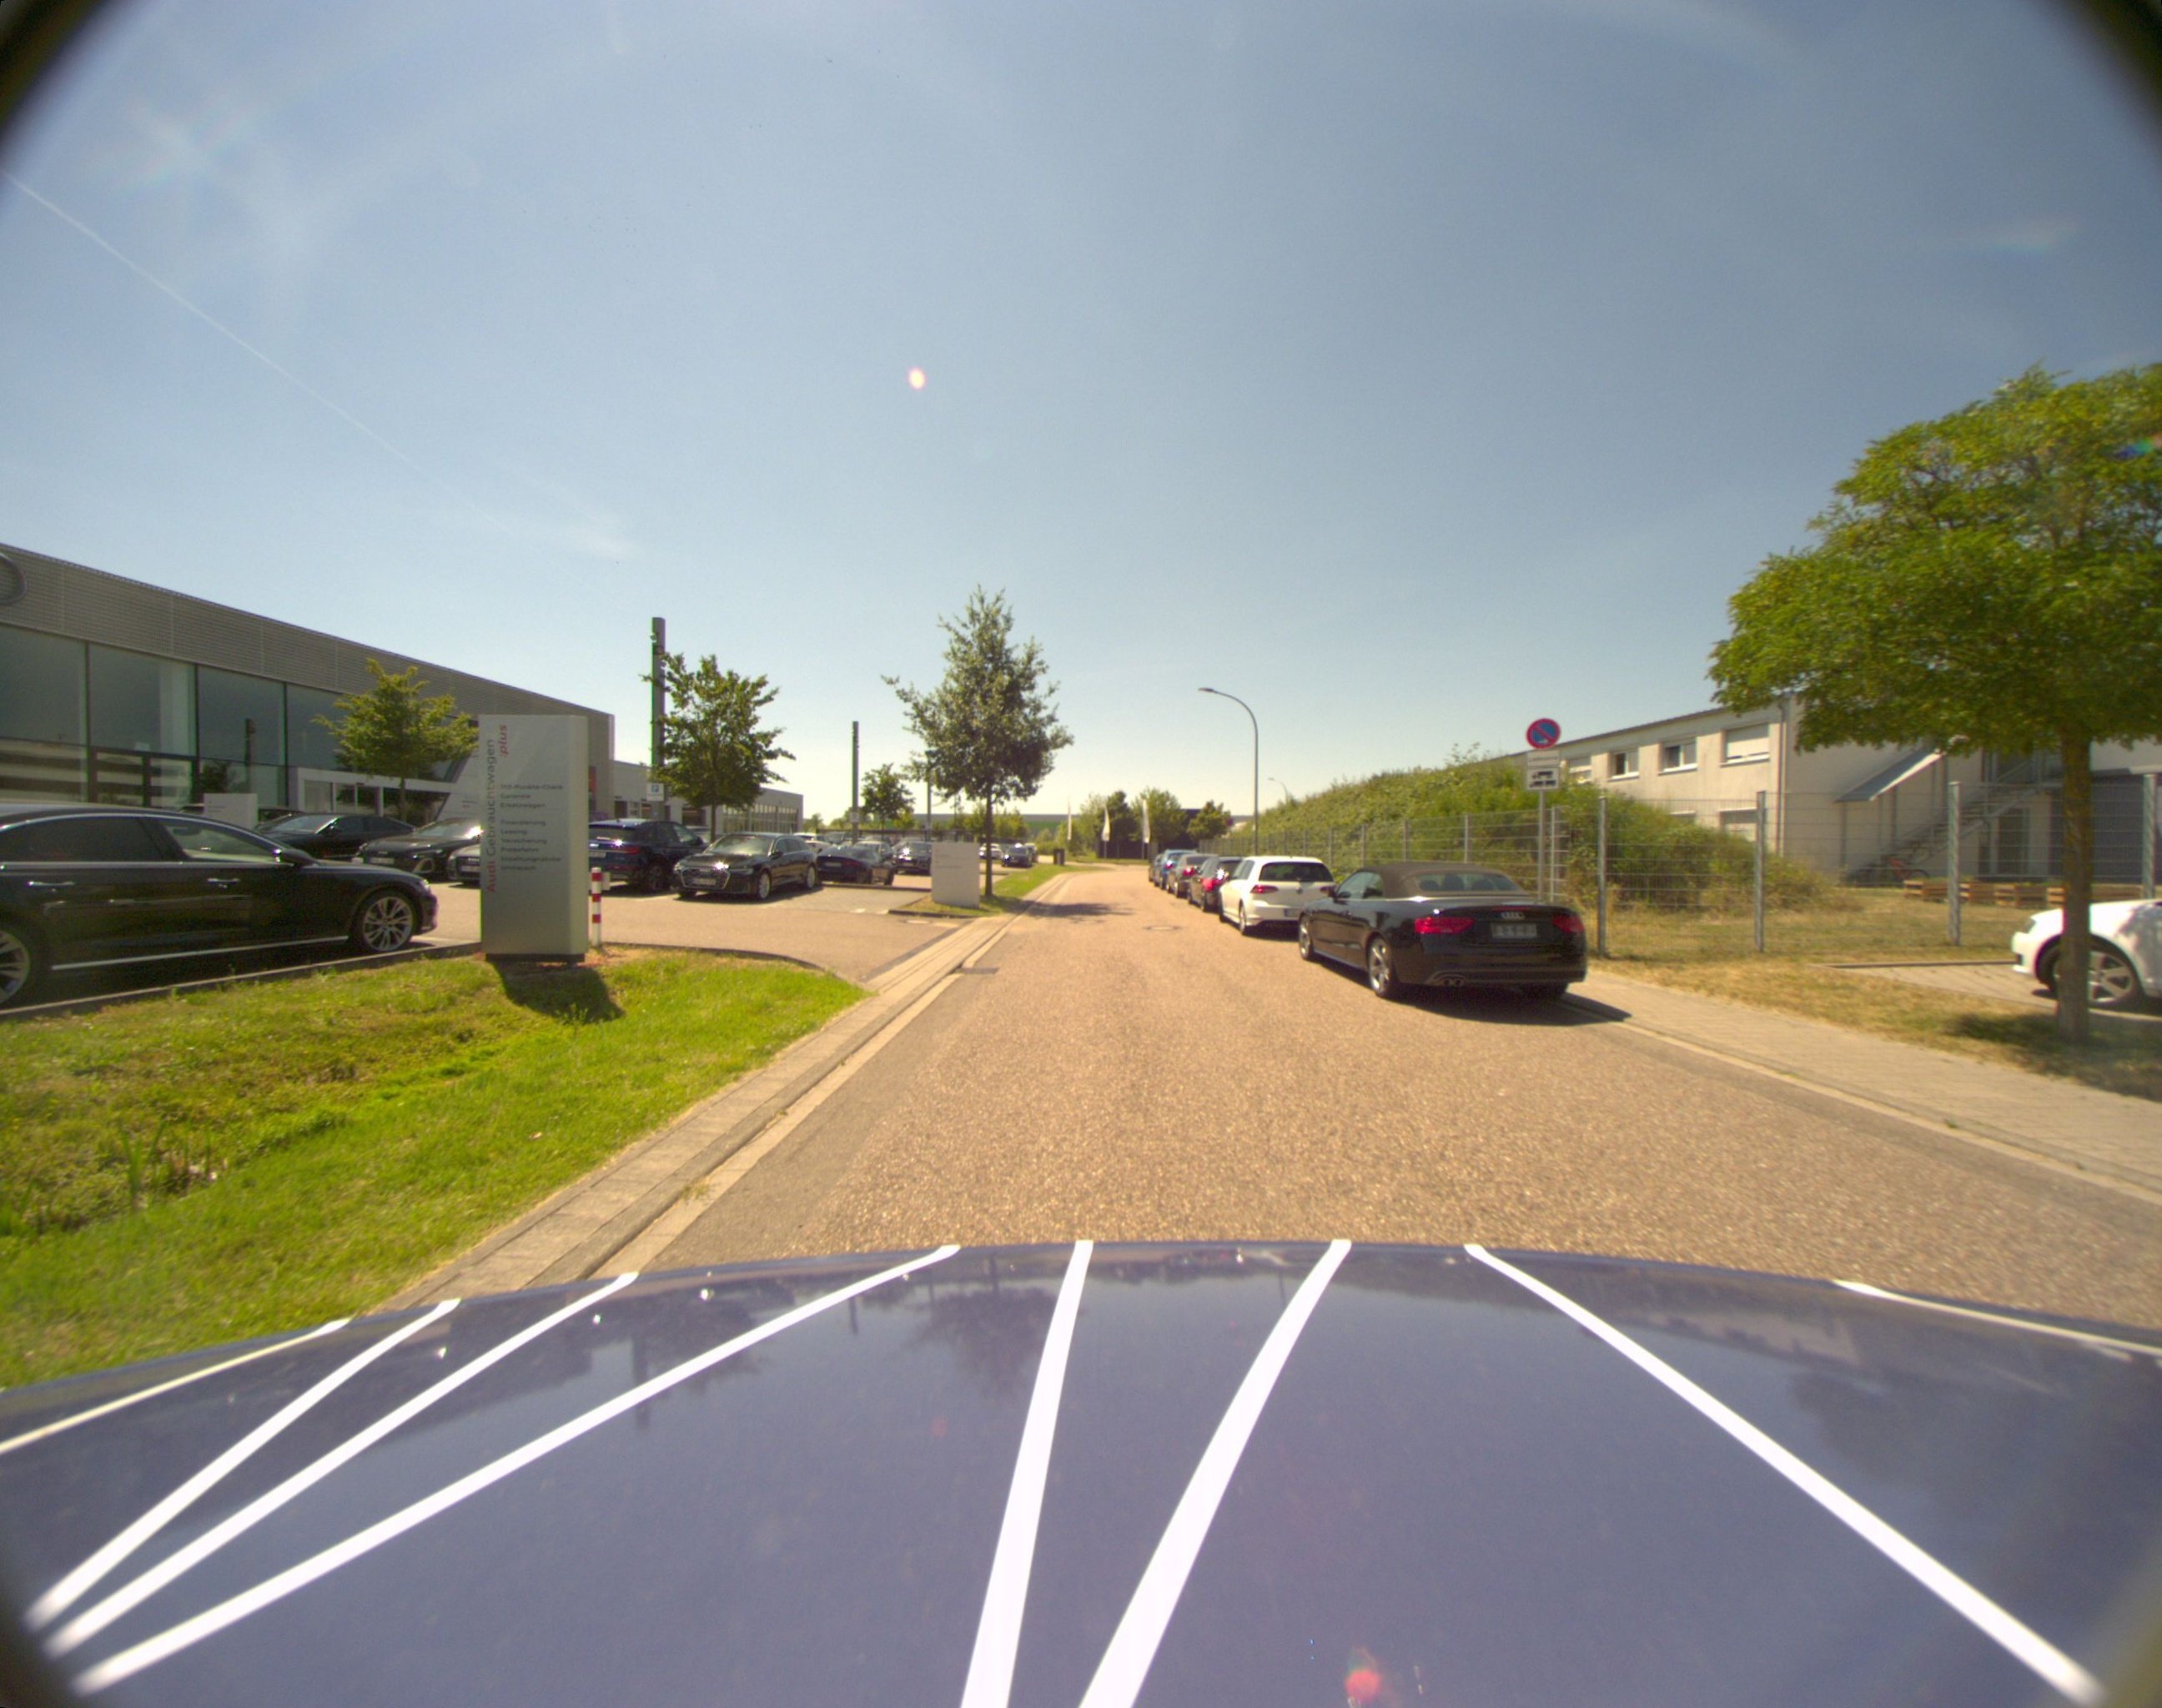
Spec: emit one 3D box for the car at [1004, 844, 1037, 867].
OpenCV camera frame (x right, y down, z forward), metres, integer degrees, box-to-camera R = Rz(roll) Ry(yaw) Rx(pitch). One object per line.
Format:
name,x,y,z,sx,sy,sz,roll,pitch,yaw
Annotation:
car,-4.270,0.058,54.093,1.884,1.446,5.023,3,1,0

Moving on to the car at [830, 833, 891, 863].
car,-12.480,-0.371,43.265,1.966,1.544,5.005,2,1,0

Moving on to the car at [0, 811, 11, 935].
car,-13.748,0.196,6.466,2.030,1.448,5.077,3,1,1

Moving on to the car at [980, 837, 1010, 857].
car,-6.910,-0.575,61.779,1.824,1.520,4.944,2,1,0

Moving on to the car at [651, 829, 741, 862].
car,-18.198,-0.408,36.154,1.966,1.358,4.466,3,1,0

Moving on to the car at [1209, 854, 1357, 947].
car,3.758,0.784,14.932,1.829,1.491,4.258,1,1,1

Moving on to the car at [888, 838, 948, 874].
car,-7.798,0.063,36.709,1.892,1.562,4.226,3,1,0

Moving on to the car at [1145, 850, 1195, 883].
car,4.221,0.539,36.592,1.829,1.446,4.580,1,1,0

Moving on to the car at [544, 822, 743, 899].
car,-10.448,0.035,18.712,1.966,1.589,4.984,2,3,1

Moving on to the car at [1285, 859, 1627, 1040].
car,3.912,0.862,8.969,1.829,1.491,4.525,1,1,1

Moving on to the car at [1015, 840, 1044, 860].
car,-4.151,-0.340,61.460,1.966,1.459,4.944,2,1,0

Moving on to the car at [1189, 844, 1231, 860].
car,13.918,-0.230,81.969,4.280,1.592,1.780,-1,1,0

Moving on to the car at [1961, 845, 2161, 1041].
car,9.265,0.704,5.094,1.828,1.491,4.327,-1,1,3

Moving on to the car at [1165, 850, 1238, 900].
car,4.006,0.653,25.953,1.829,1.491,4.519,1,1,1

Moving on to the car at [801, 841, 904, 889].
car,-7.594,0.368,25.807,1.966,1.358,4.721,3,0,1

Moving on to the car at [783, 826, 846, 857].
car,-14.936,-0.695,42.809,1.966,1.604,4.288,2,1,0

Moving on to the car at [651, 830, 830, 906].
car,-7.857,0.216,18.189,1.966,1.449,4.984,2,3,1

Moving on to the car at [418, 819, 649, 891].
car,-12.972,-0.083,18.521,1.966,1.449,4.984,2,3,1

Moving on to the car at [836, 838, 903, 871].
car,-10.103,-0.005,36.600,1.966,1.358,4.226,3,1,0

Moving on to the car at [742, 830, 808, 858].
car,-17.475,-0.570,43.648,1.966,1.468,4.371,2,1,0

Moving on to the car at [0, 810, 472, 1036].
car,-8.239,0.418,6.323,2.030,1.506,5.239,2,1,1

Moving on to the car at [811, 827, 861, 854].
car,-17.501,-0.937,54.475,1.966,1.732,4.625,4,1,0

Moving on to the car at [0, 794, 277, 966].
car,-10.944,0.206,6.640,1.901,1.564,5.475,3,1,1

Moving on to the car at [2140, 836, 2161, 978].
car,12.211,0.559,6.013,1.828,1.491,4.259,-2,1,3

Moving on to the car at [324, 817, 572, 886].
car,-15.363,-0.160,18.932,1.966,1.449,4.984,2,3,1

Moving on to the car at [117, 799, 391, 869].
car,-22.066,-0.587,20.692,1.966,1.612,4.984,2,3,1

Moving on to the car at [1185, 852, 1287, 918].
car,3.938,0.715,20.040,1.829,1.491,4.519,1,1,1

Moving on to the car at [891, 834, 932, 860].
car,-12.063,-0.539,54.383,1.829,1.634,4.784,4,1,0

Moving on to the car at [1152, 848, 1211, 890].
car,4.081,0.554,31.400,1.829,1.561,4.386,1,1,0
